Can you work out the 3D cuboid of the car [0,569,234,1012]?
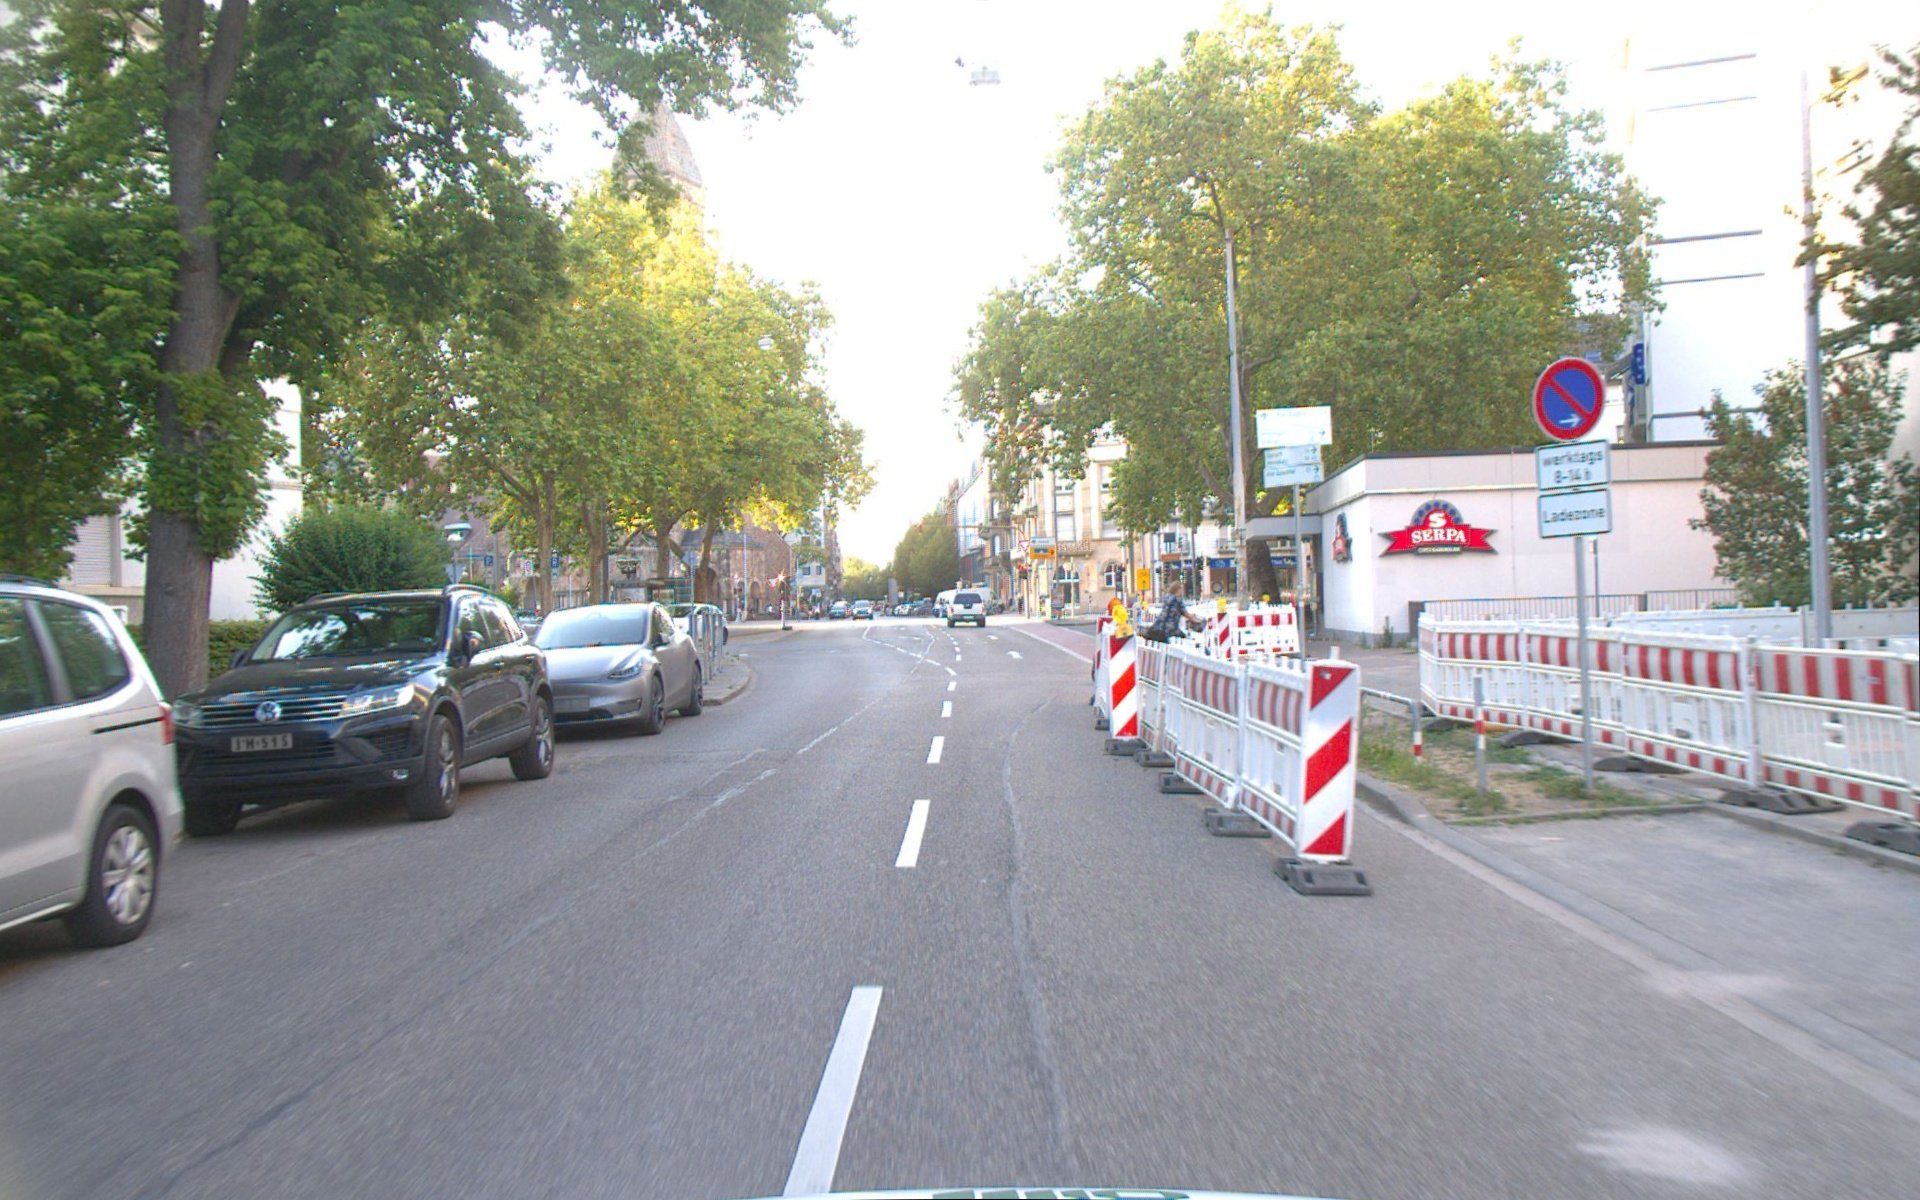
[{"bbox_3d":[-4.656,0.794,6.094,1.809,1.720,4.858,-4,0,-1],"label":"car"}]

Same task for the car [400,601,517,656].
[{"bbox_3d":[-18.926,1.049,62.654,1.781,1.831,4.633,-2,1,19],"label":"car"}]

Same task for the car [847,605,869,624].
[{"bbox_3d":[-9.397,1.304,152.006,1.748,1.680,3.815,0,0,-7],"label":"car"}]

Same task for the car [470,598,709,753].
[{"bbox_3d":[-4.580,0.863,21.200,1.914,1.645,4.605,-4,0,0],"label":"car"}]

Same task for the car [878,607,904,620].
[{"bbox_3d":[-10.657,2.101,254.726,3.910,1.847,1.998,-2,0,-6],"label":"car"}]

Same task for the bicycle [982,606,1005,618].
[{"bbox_3d":[2.907,1.017,141.989,1.874,0.985,0.546,-2,0,15],"label":"bicycle"}]

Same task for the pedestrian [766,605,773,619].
[{"bbox_3d":[-18.141,1.164,157.500,0.560,1.313,0.487,-2,0,12],"label":"pedestrian"}]

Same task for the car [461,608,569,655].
[{"bbox_3d":[-16.290,1.135,60.779,1.780,1.507,4.635,-2,1,14],"label":"car"}]

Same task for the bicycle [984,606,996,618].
[{"bbox_3d":[2.607,1.025,143.350,0.532,0.985,1.923,-2,0,14],"label":"bicycle"}]

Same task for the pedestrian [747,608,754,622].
[{"bbox_3d":[-19.300,1.356,152.701,0.491,1.303,0.489,-2,0,-24],"label":"pedestrian"}]

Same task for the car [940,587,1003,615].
[{"bbox_3d":[1.057,0.067,147.457,5.776,2.328,2.040,-2,0,-43],"label":"car"}]

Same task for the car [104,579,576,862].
[{"bbox_3d":[-4.665,0.804,13.349,1.914,1.748,4.771,-4,0,0],"label":"car"}]

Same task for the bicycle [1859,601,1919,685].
[{"bbox_3d":[11.716,0.519,20.800,0.533,0.985,1.814,-2,0,24],"label":"bicycle"}]

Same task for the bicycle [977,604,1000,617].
[{"bbox_3d":[2.409,0.894,140.926,1.876,0.985,0.545,-2,0,-1],"label":"bicycle"}]

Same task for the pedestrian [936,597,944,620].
[{"bbox_3d":[-1.666,0.694,136.677,0.581,1.919,0.647,-2,0,2],"label":"pedestrian"}]

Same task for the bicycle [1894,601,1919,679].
[{"bbox_3d":[12.561,0.516,21.011,0.532,0.985,1.698,-2,0,5],"label":"bicycle"}]

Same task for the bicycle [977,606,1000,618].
[{"bbox_3d":[2.441,1.012,141.204,1.876,0.985,0.545,-2,0,-1],"label":"bicycle"}]

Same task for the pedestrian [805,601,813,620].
[{"bbox_3d":[-15.301,1.093,167.716,0.580,1.919,0.585,-2,0,12],"label":"pedestrian"}]

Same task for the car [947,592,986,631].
[{"bbox_3d":[0.305,0.588,85.034,1.828,1.846,3.999,-3,0,-1],"label":"car"}]

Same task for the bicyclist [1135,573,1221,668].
[{"bbox_3d":[3.968,0.378,30.117,1.135,1.609,0.929,-4,-1,-38],"label":"bicyclist"}]

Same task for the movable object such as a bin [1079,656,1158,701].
[{"bbox_3d":[2.795,1.382,29.156,0.983,0.701,0.929,-4,-1,-38],"label":"movable object such as a bin"}]

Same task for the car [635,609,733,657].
[{"bbox_3d":[-9.539,1.119,57.516,1.951,1.545,4.003,-2,0,13],"label":"car"}]

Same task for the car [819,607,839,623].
[{"bbox_3d":[-14.368,1.626,181.546,1.956,1.680,3.815,0,0,-7],"label":"car"}]

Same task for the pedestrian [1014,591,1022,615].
[{"bbox_3d":[4.709,0.259,134.104,0.581,1.919,0.647,-2,0,2],"label":"pedestrian"}]

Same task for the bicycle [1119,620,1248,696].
[{"bbox_3d":[4.092,1.050,30.168,2.336,1.192,0.929,-4,-1,-39],"label":"bicycle"}]

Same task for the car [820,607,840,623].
[{"bbox_3d":[-13.708,1.571,173.834,1.956,1.680,3.815,0,0,-7],"label":"car"}]

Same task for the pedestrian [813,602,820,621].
[{"bbox_3d":[-14.541,1.129,167.666,0.580,1.919,0.554,-2,0,11],"label":"pedestrian"}]
